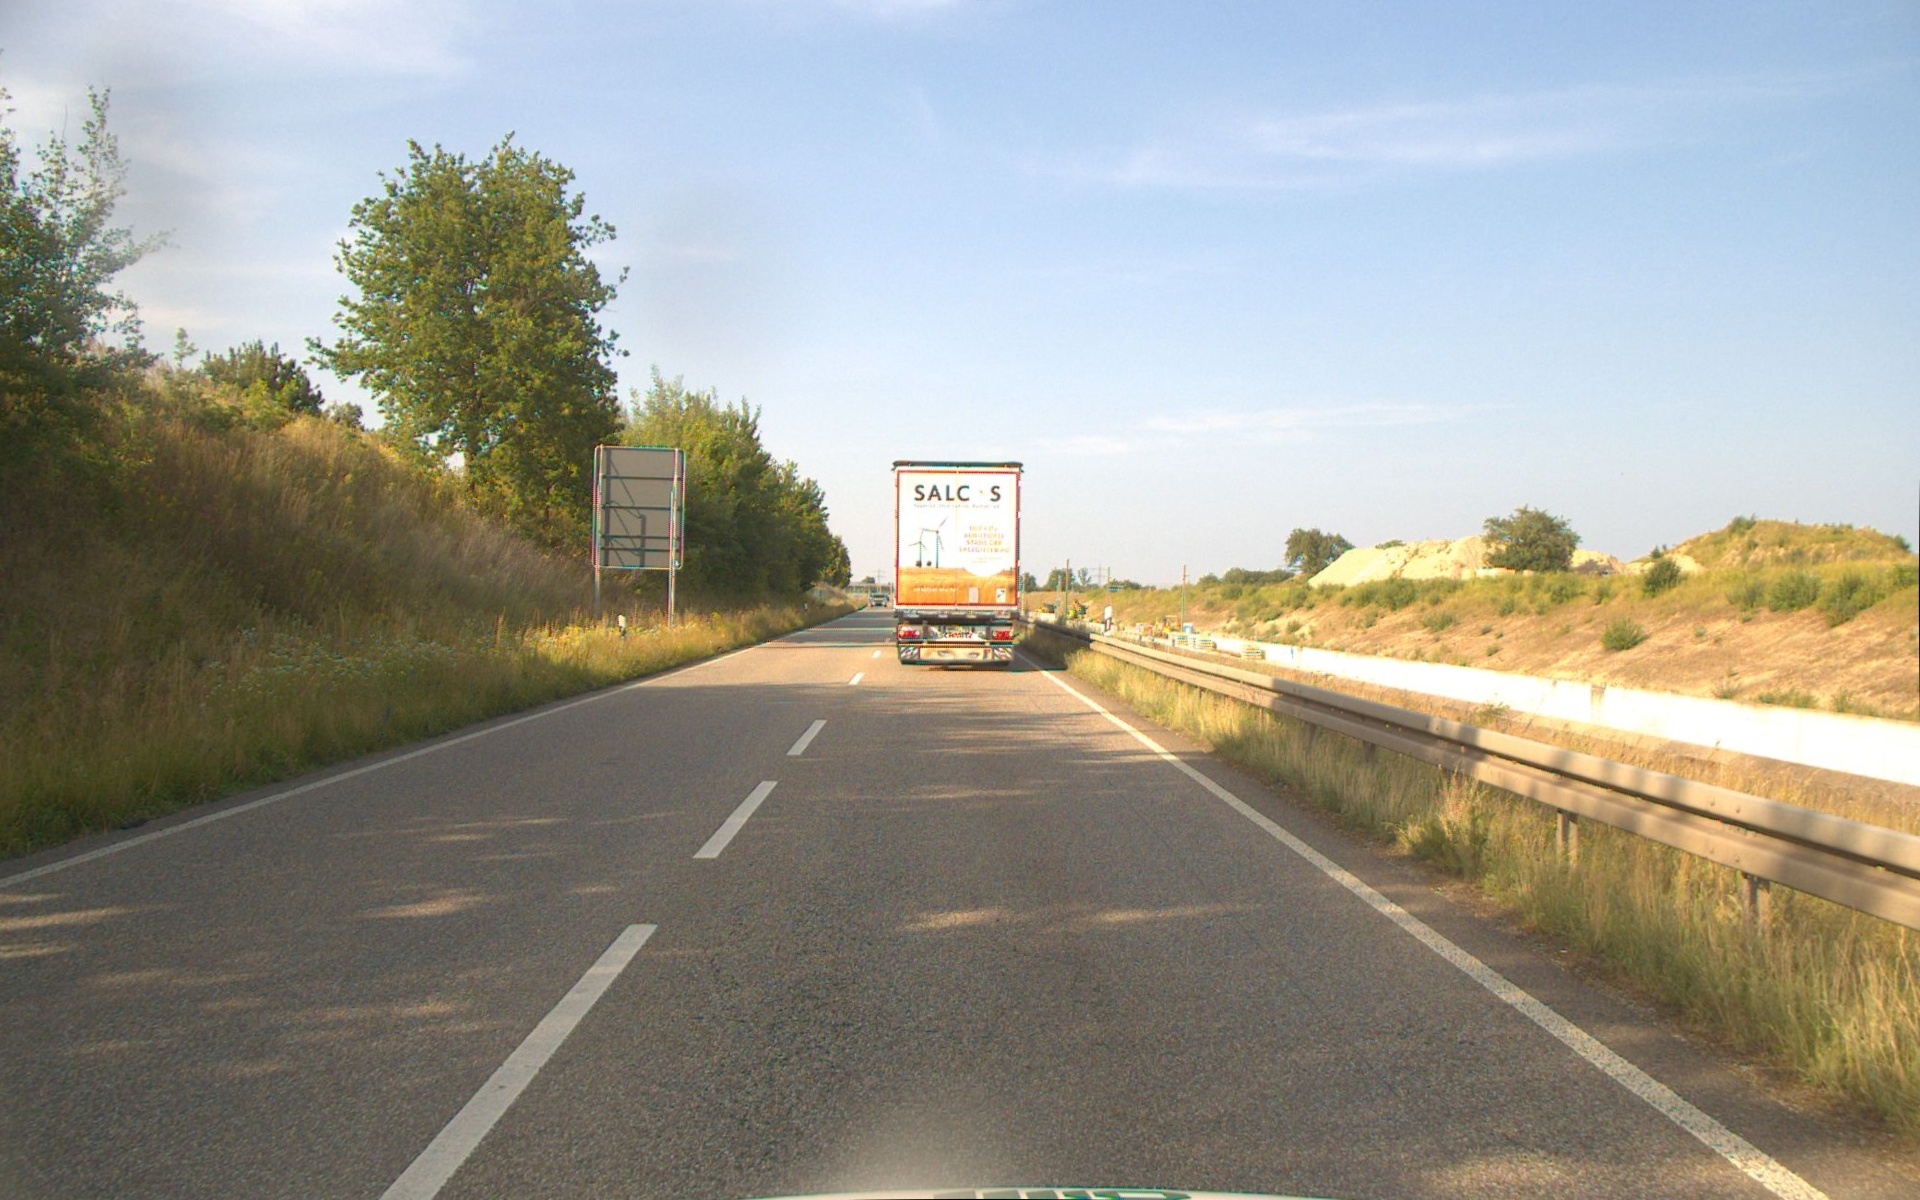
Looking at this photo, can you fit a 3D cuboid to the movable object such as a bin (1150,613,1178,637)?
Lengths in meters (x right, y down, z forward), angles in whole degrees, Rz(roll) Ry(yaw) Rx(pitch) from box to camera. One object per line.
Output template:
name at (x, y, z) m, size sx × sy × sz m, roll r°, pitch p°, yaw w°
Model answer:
movable object such as a bin at (24.186, 2.945, 195.725) m, size 2.845 × 2.708 × 2.019 m, roll 1°, pitch 0°, yaw 23°

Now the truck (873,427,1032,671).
truck at (-0.292, -1.012, 36.700) m, size 3.089 × 4.770 × 8.438 m, roll 0°, pitch 0°, yaw -2°

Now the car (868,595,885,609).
car at (-9.319, 0.224, 184.806) m, size 1.710 × 1.591 × 4.363 m, roll 1°, pitch 0°, yaw -2°
